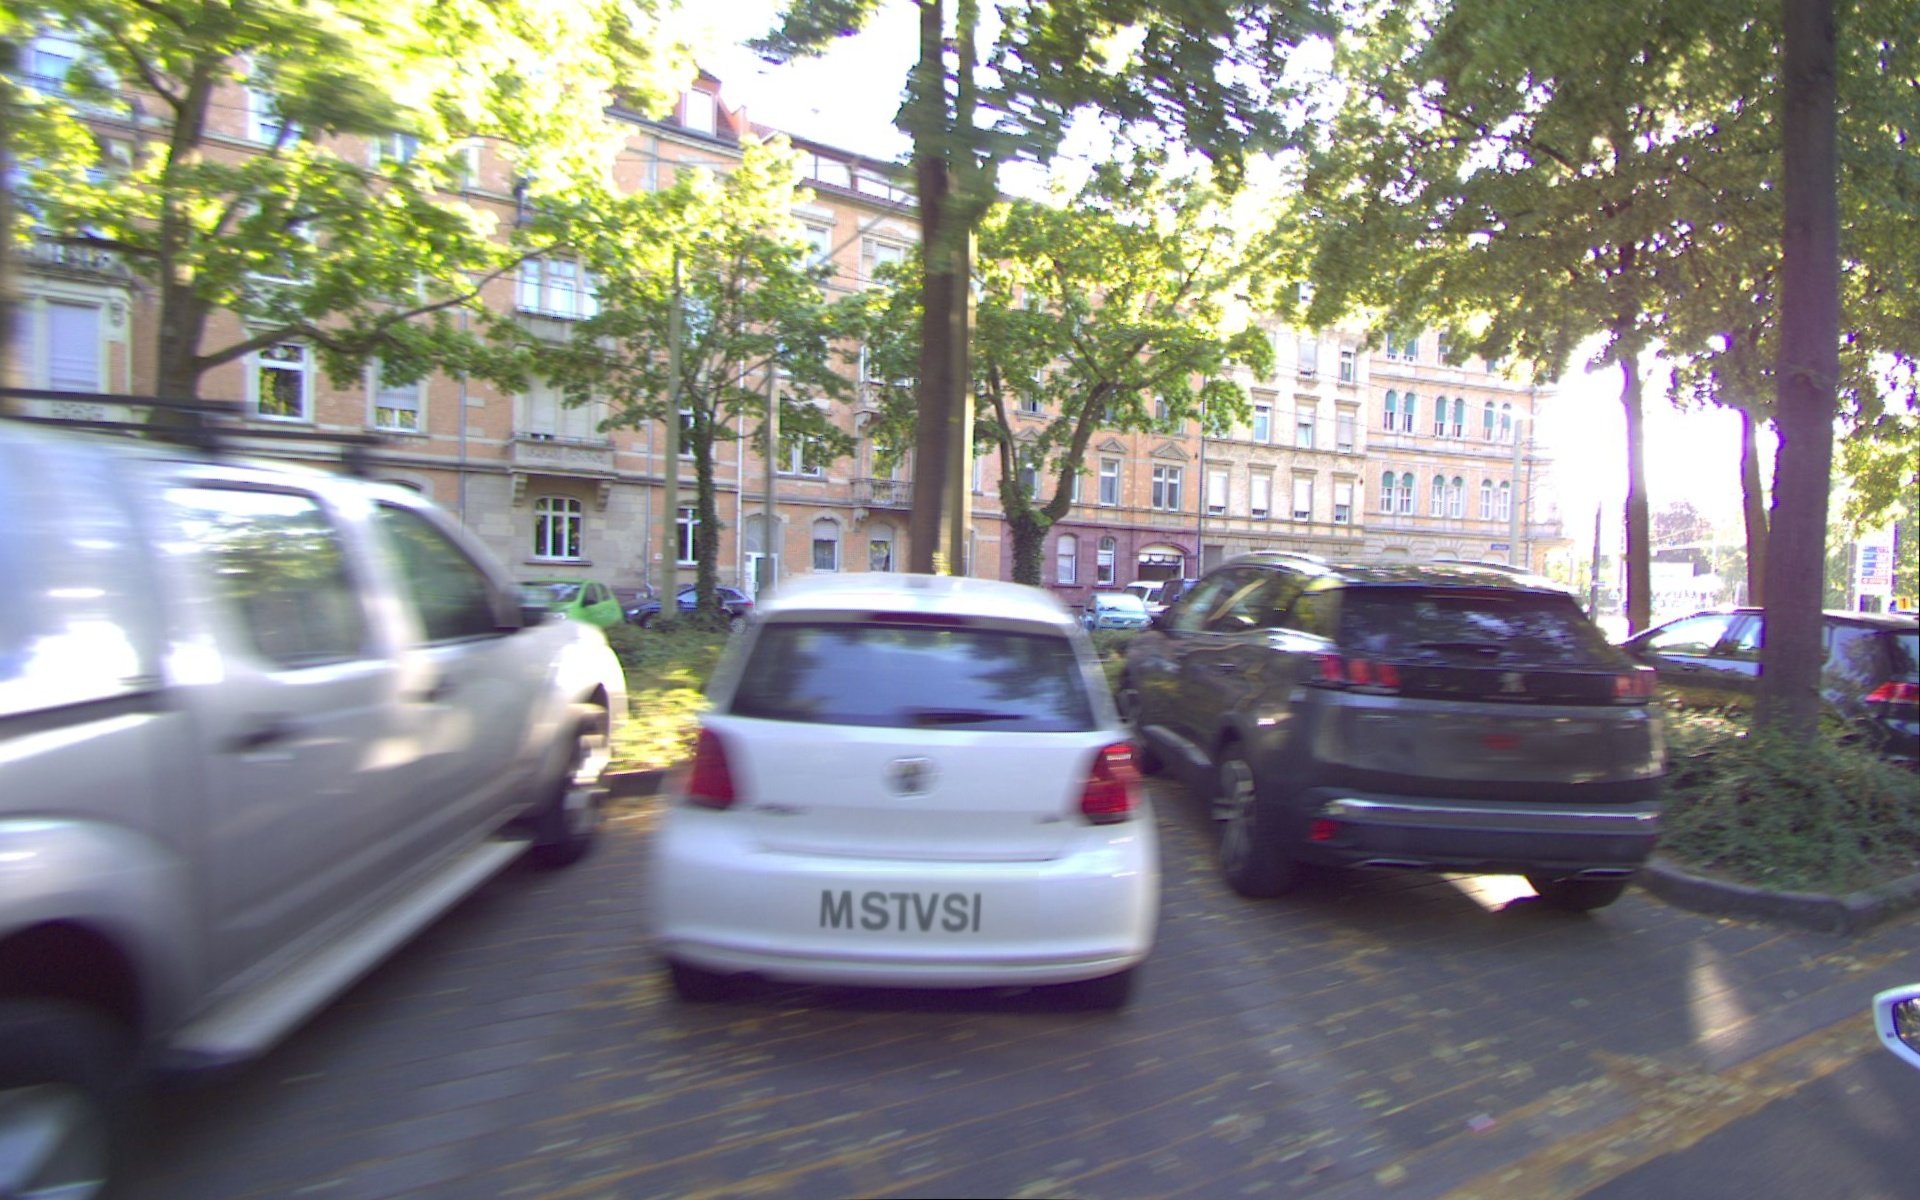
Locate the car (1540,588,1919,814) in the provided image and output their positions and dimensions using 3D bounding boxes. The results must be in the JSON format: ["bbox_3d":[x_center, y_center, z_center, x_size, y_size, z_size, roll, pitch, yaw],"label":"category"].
[{"bbox_3d":[7.498,0.748,9.228,1.797,1.458,3.868,3,3,-5],"label":"car"}]

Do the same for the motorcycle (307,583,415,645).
[{"bbox_3d":[-10.055,0.219,16.955,1.002,0.968,1.724,1,0,-10],"label":"motorcycle"}]

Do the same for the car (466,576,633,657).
[{"bbox_3d":[-7.878,0.284,19.652,1.674,1.399,3.739,1,0,1],"label":"car"}]

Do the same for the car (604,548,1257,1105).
[{"bbox_3d":[-0.150,0.538,4.849,1.737,1.479,4.158,3,3,-2],"label":"car"}]

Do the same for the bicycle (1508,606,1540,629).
[{"bbox_3d":[31.611,0.972,56.280,1.766,1.222,0.500,1,4,-22],"label":"bicycle"}]

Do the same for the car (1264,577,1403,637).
[{"bbox_3d":[12.047,0.193,32.813,2.047,1.788,5.051,1,0,-9],"label":"car"}]

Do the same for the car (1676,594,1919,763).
[{"bbox_3d":[9.953,0.811,10.375,1.797,1.458,4.196,3,3,-5],"label":"car"}]

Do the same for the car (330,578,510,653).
[{"bbox_3d":[-13.862,0.390,25.838,3.958,1.799,1.783,1,0,-33],"label":"car"}]

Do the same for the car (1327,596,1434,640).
[{"bbox_3d":[13.933,0.563,33.524,1.685,1.347,3.628,1,0,-8],"label":"car"}]

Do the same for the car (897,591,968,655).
[{"bbox_3d":[-0.593,0.498,24.533,1.562,1.399,4.289,1,0,0],"label":"car"}]

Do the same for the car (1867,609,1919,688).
[{"bbox_3d":[19.027,1.002,17.809,1.745,1.425,4.026,2,2,-15],"label":"car"}]

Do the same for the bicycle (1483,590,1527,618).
[{"bbox_3d":[29.203,0.228,53.861,2.090,1.147,0.501,9,3,-11],"label":"bicycle"}]

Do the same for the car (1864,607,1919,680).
[{"bbox_3d":[20.955,0.997,19.866,1.744,1.449,4.282,2,2,-13],"label":"car"}]

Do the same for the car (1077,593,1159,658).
[{"bbox_3d":[4.333,0.652,27.987,1.628,1.662,3.650,1,0,-1],"label":"car"}]

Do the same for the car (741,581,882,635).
[{"bbox_3d":[-4.704,0.231,31.888,4.015,1.539,1.840,0,4,-33],"label":"car"}]

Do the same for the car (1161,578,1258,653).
[{"bbox_3d":[7.373,0.422,30.061,1.960,2.040,4.000,1,0,1],"label":"car"}]

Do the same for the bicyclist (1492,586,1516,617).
[{"bbox_3d":[29.181,0.073,53.862,0.690,1.510,0.593,8,3,-8],"label":"bicyclist"}]

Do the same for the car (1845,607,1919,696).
[{"bbox_3d":[16.823,0.965,15.819,1.745,1.383,3.972,2,3,-14],"label":"car"}]

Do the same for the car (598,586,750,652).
[{"bbox_3d":[-8.383,0.541,29.578,3.958,1.799,1.783,1,1,-33],"label":"car"}]

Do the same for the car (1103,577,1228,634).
[{"bbox_3d":[8.195,0.191,39.955,4.946,2.091,1.840,0,4,-33],"label":"car"}]

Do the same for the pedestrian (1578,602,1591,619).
[{"bbox_3d":[65.060,1.125,104.638,0.911,1.715,0.777,2,1,21],"label":"pedestrian"}]

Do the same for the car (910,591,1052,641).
[{"bbox_3d":[0.766,0.518,35.090,4.720,1.562,1.840,0,4,-33],"label":"car"}]

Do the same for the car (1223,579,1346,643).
[{"bbox_3d":[9.908,0.309,31.137,2.045,1.788,4.834,1,0,-3],"label":"car"}]

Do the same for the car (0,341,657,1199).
[{"bbox_3d":[-2.519,0.388,2.810,1.949,1.805,4.999,3,3,-2],"label":"car"}]

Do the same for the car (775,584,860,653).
[{"bbox_3d":[-3.100,0.365,22.477,1.694,1.399,3.735,1,0,-6],"label":"car"}]

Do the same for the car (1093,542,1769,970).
[{"bbox_3d":[2.172,0.524,6.191,1.904,1.648,4.355,3,3,-2],"label":"car"}]

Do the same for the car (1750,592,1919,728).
[{"bbox_3d":[12.376,0.797,12.500,1.797,1.514,3.881,3,3,-4],"label":"car"}]
